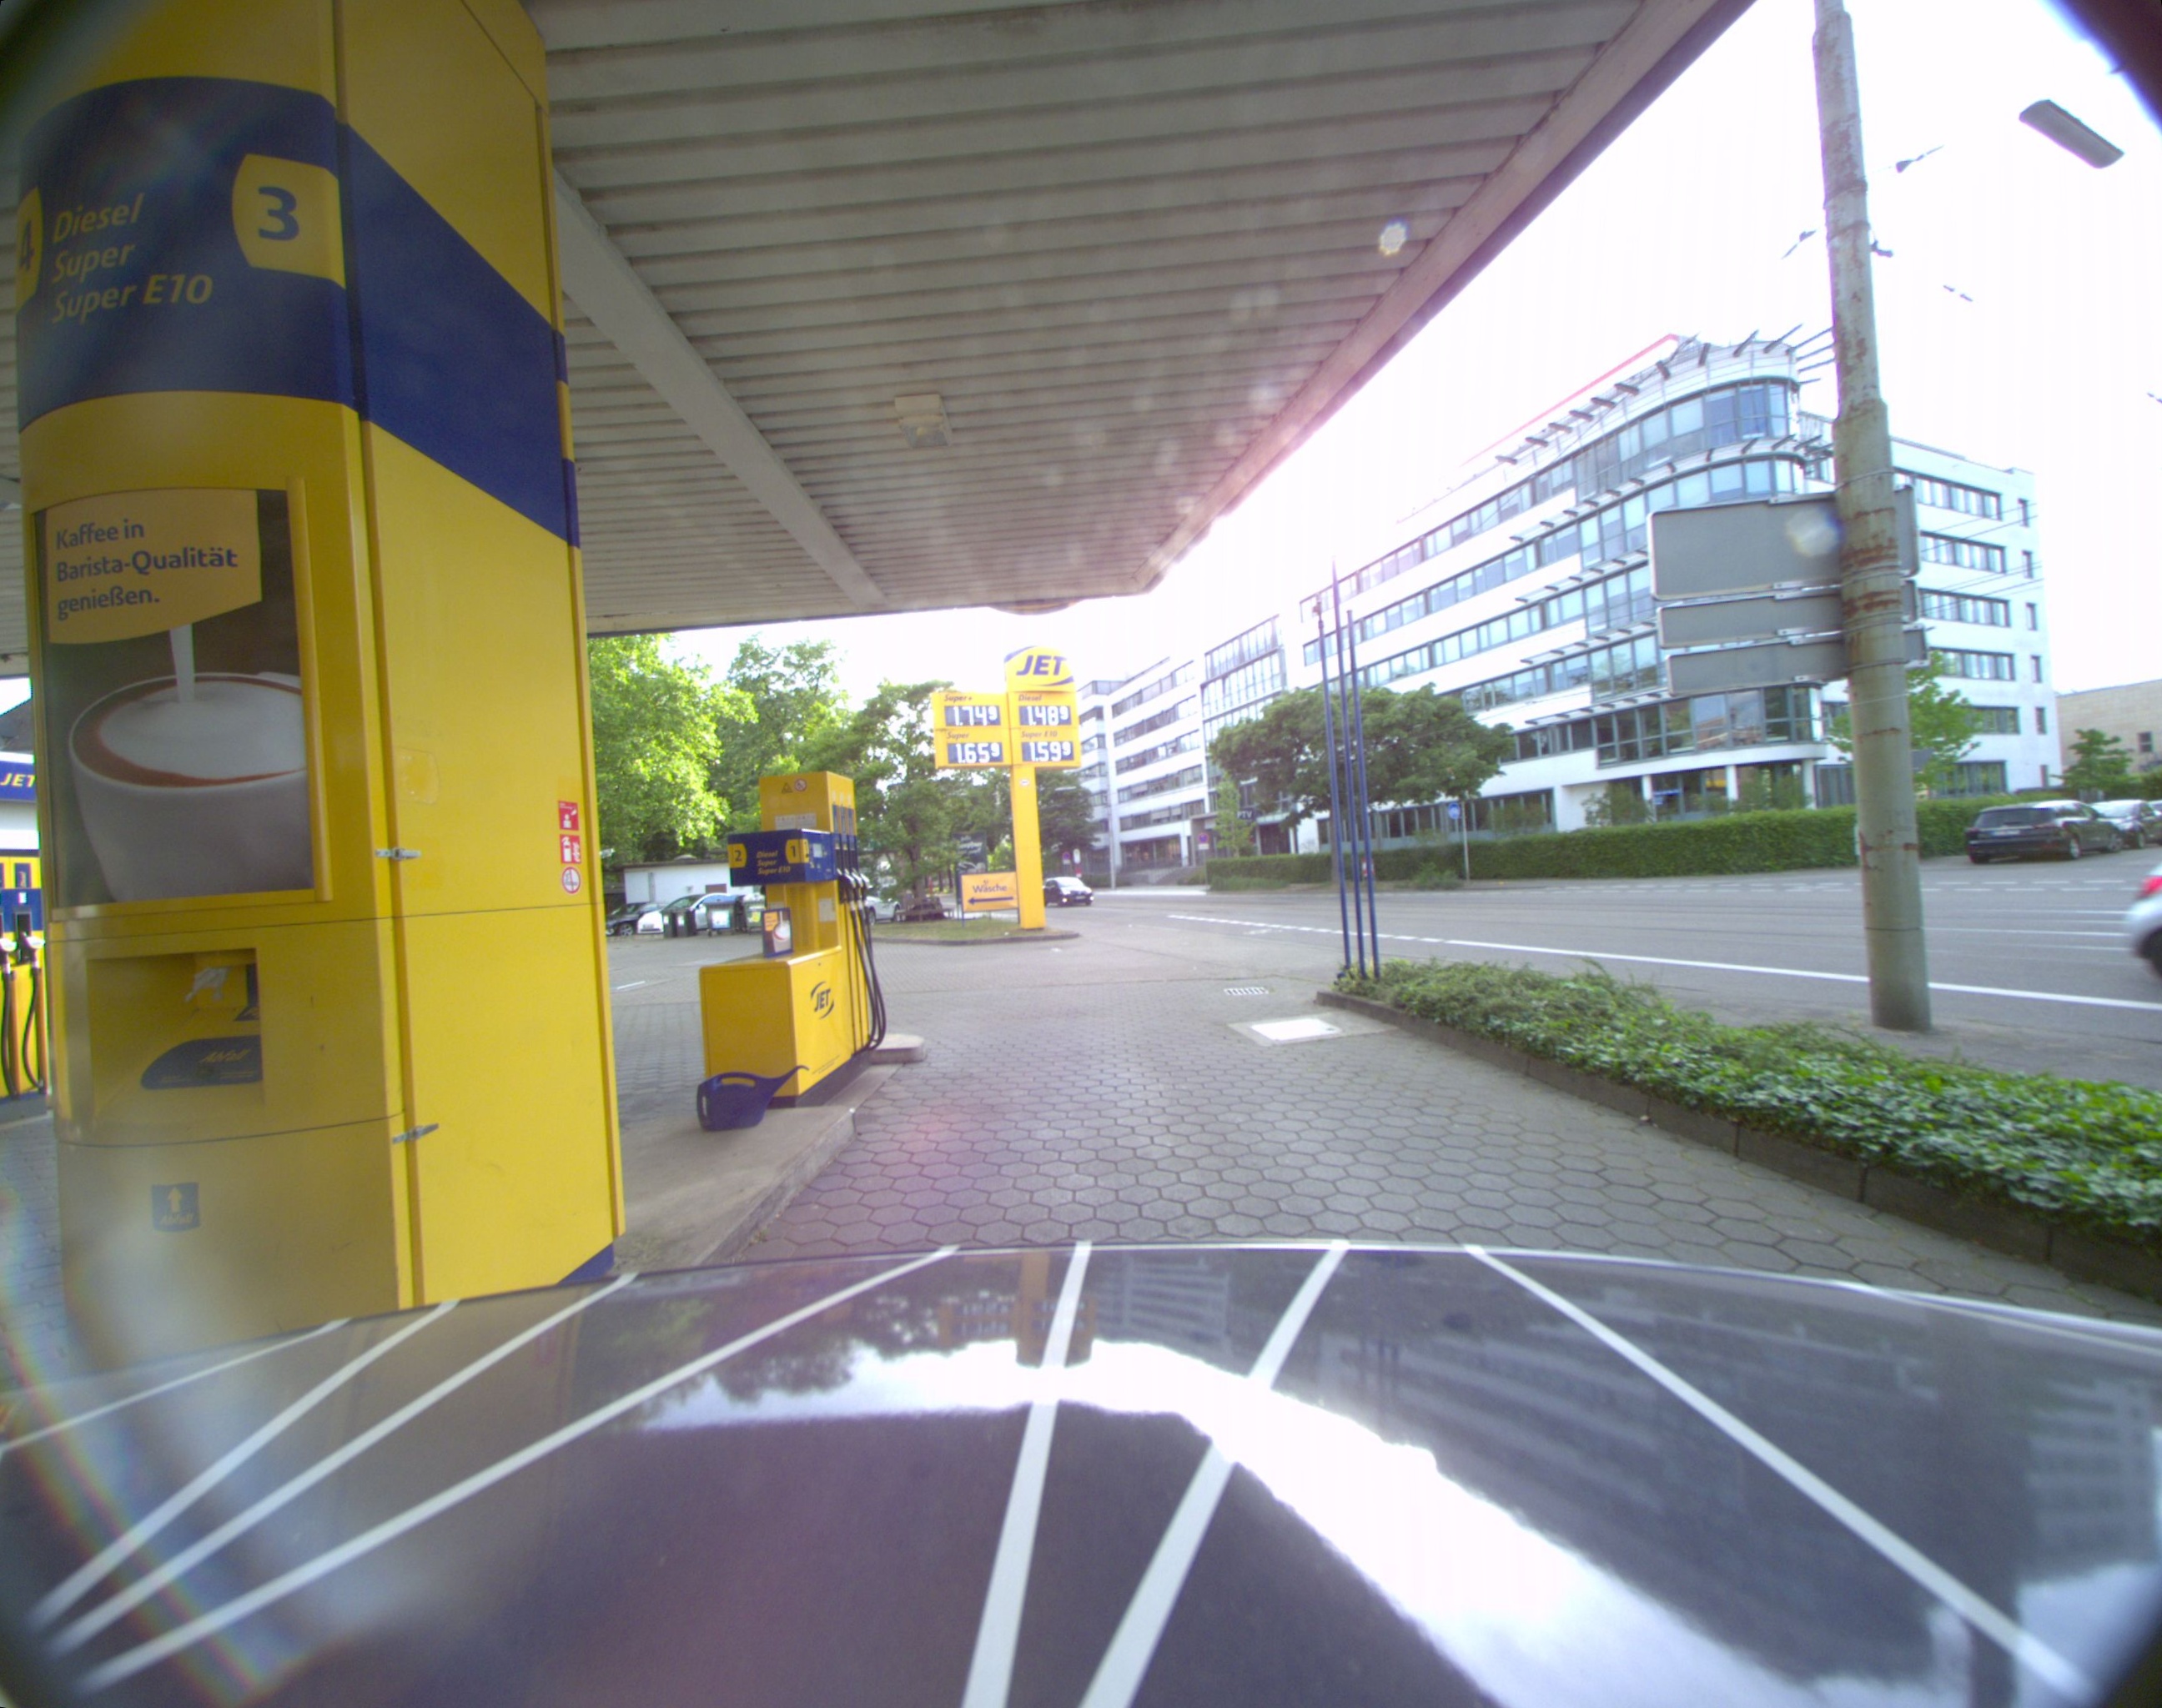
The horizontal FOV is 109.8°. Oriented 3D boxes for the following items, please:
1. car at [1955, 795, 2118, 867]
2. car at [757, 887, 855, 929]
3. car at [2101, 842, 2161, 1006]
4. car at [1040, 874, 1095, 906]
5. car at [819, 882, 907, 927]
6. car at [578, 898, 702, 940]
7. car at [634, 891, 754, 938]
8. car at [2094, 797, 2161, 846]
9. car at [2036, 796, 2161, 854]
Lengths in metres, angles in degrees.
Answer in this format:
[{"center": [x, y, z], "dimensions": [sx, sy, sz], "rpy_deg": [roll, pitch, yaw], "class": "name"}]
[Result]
[{"center": [27.279, -0.663, 21.692], "dimensions": [4.296, 1.681, 2.010], "rpy_deg": [-4, -1, -27], "class": "car"}, {"center": [-11.651, 2.265, 32.491], "dimensions": [1.771, 1.591, 4.400], "rpy_deg": [-4, -4, 13], "class": "car"}, {"center": [11.024, 0.549, 5.813], "dimensions": [1.691, 1.424, 3.423], "rpy_deg": [-5, 0, -17], "class": "car"}, {"center": [-0.735, 1.874, 39.500], "dimensions": [1.691, 1.463, 3.807], "rpy_deg": [-4, -1, -19], "class": "car"}, {"center": [-8.632, 2.000, 30.500], "dimensions": [1.772, 1.591, 4.398], "rpy_deg": [-4, -4, 6], "class": "car"}, {"center": [-17.790, 2.588, 30.905], "dimensions": [1.771, 1.367, 4.398], "rpy_deg": [-2, -1, 14], "class": "car"}, {"center": [-15.288, 2.362, 30.312], "dimensions": [1.771, 1.591, 4.398], "rpy_deg": [-2, -1, 14], "class": "car"}, {"center": [37.132, -1.195, 26.148], "dimensions": [4.296, 1.509, 1.945], "rpy_deg": [-4, -1, -27], "class": "car"}, {"center": [32.550, -0.940, 24.095], "dimensions": [4.296, 1.530, 1.945], "rpy_deg": [-4, -1, -27], "class": "car"}]
